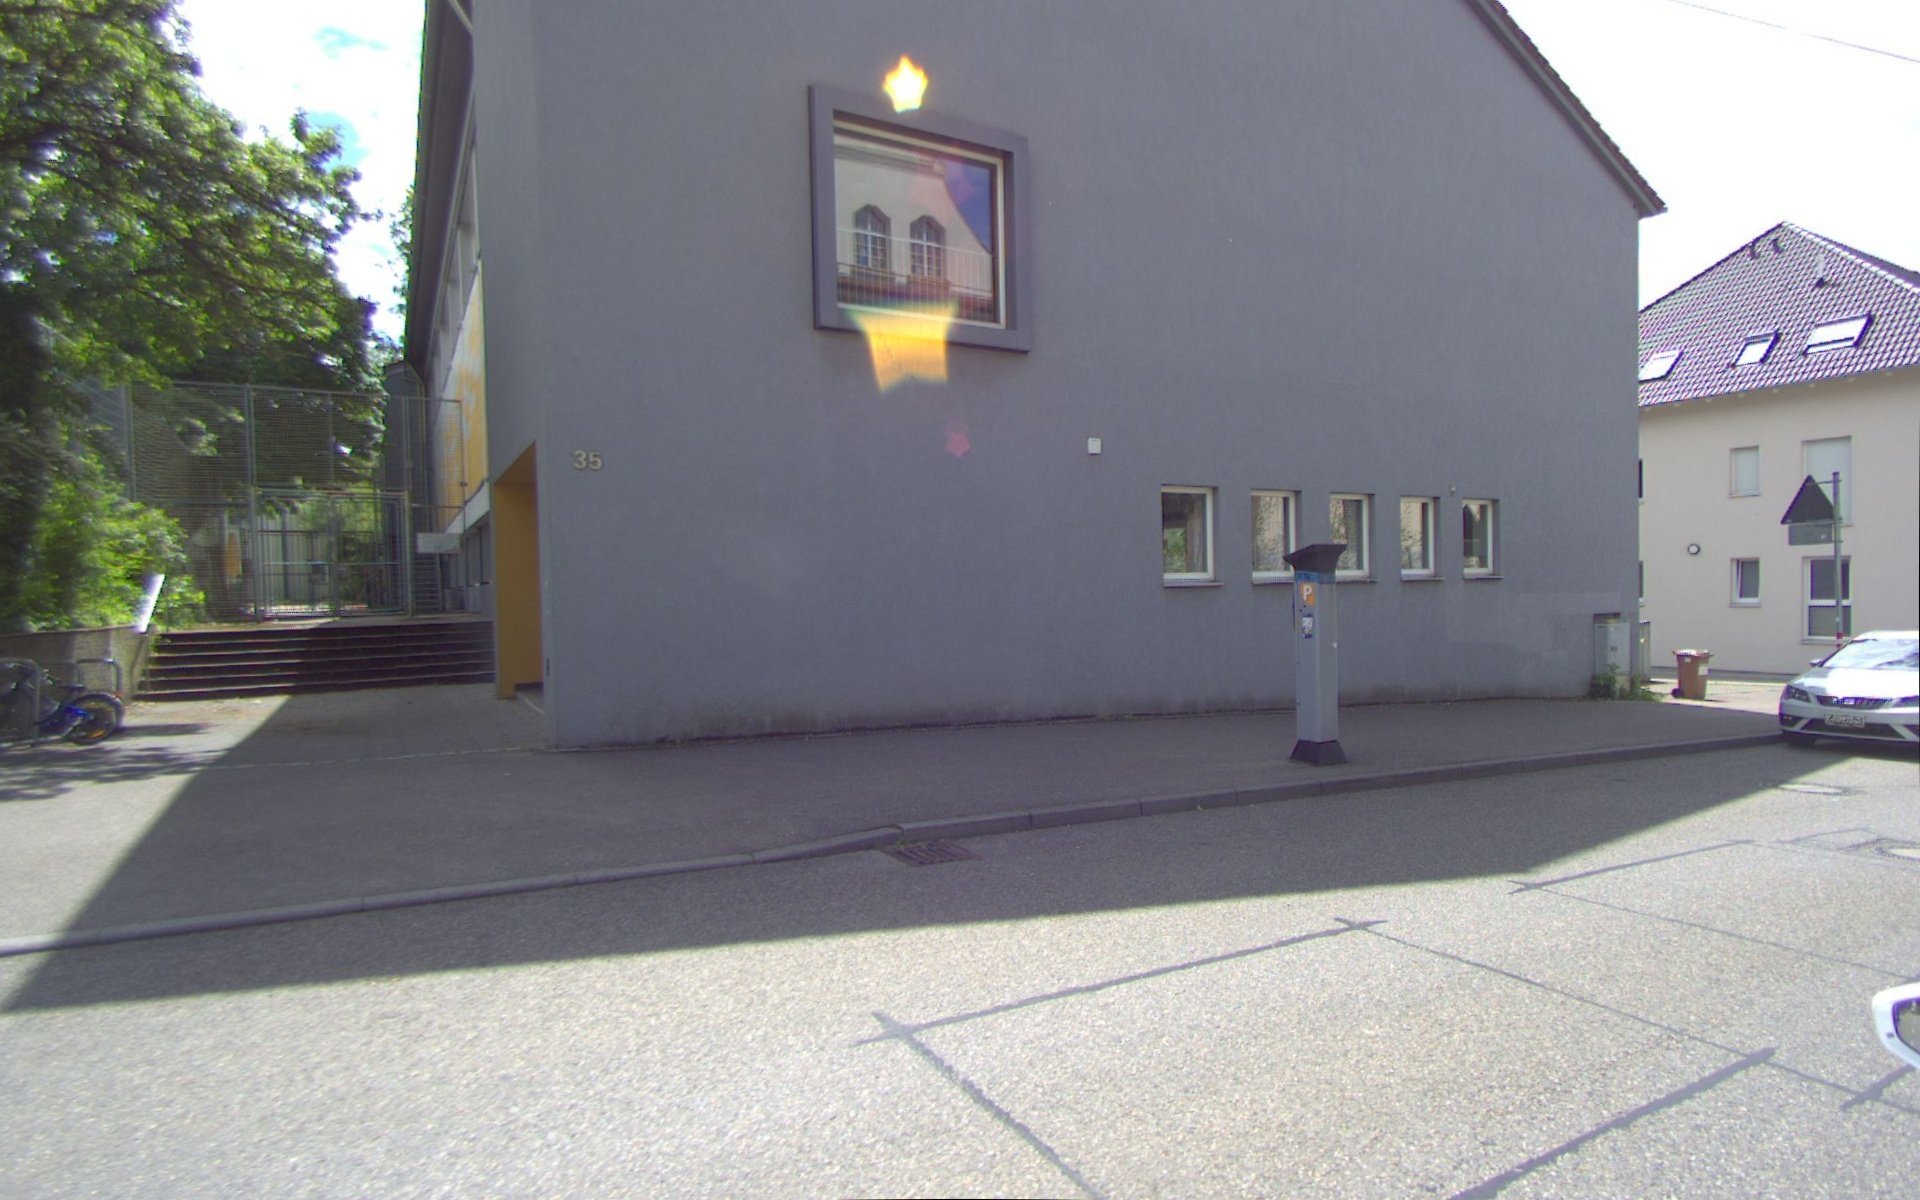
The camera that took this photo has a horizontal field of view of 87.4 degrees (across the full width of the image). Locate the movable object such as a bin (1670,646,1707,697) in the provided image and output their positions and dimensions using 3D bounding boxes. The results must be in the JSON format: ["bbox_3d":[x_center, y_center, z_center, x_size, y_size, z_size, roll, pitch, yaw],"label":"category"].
[{"bbox_3d":[13.982,1.368,19.274,0.395,0.941,0.452,1,0,-31],"label":"movable object such as a bin"}]

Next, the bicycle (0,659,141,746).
[{"bbox_3d":[-8.646,0.951,9.389,1.424,0.760,0.585,1,-3,-28],"label":"bicycle"}]

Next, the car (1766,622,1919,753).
[{"bbox_3d":[12.132,1.027,12.778,3.821,1.409,1.689,1,1,-31],"label":"car"}]
